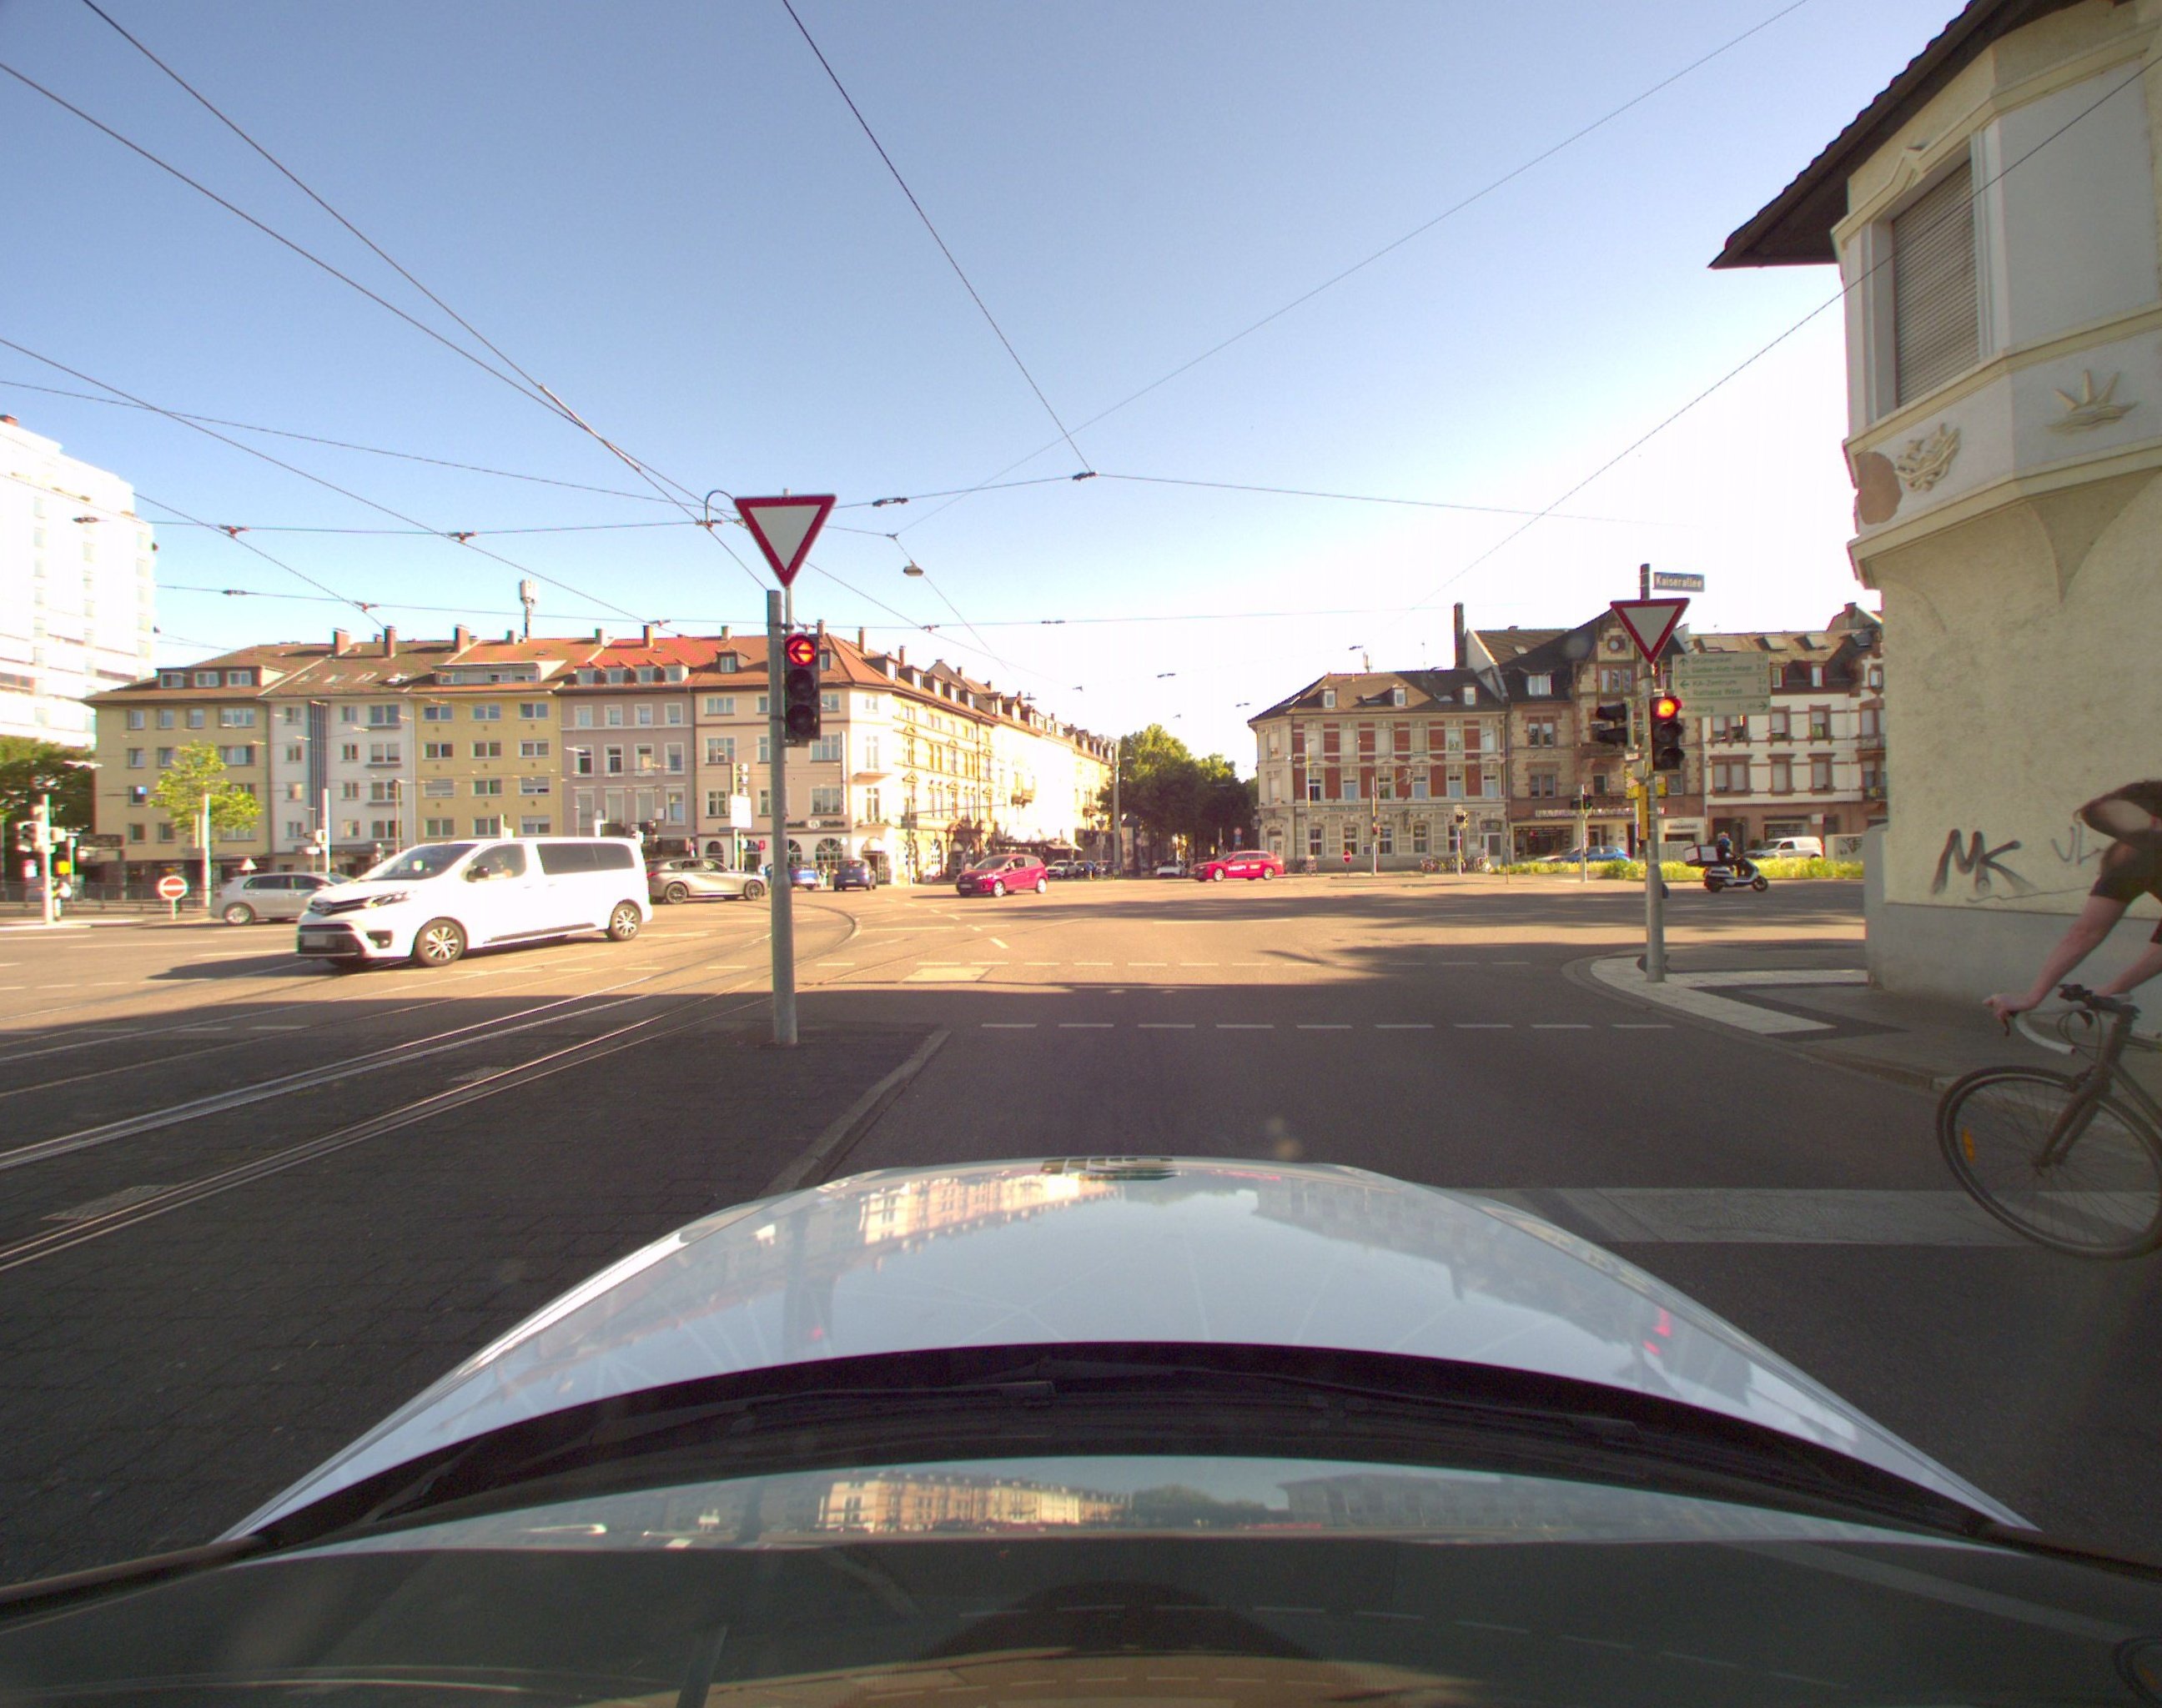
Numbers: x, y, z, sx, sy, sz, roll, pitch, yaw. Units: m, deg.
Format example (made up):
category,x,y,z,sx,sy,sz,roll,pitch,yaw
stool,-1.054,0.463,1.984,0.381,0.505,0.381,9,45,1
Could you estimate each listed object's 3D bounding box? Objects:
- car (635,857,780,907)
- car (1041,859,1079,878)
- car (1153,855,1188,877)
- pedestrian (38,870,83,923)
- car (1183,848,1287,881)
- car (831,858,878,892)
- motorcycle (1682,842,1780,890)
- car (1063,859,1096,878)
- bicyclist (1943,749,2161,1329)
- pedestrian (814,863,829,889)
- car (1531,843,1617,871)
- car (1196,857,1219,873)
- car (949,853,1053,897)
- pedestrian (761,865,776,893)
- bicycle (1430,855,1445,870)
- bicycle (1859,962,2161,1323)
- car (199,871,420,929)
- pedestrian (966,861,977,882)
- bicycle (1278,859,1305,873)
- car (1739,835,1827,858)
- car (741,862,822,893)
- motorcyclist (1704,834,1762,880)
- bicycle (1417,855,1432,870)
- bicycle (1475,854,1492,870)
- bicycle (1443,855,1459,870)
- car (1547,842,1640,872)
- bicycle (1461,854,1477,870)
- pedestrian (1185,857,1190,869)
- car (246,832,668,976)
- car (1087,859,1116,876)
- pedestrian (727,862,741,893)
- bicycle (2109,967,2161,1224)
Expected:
category,x,y,z,sx,sy,sz,roll,pitch,yaw
car,-13.723,0.982,30.139,1.850,1.602,4.483,-2,0,39
car,-1.679,1.176,67.485,1.788,1.585,4.179,-1,-1,19
car,6.895,0.891,62.492,1.877,1.454,4.027,-2,1,18
pedestrian,-31.659,1.293,25.275,0.770,1.609,0.605,0,-1,-44
car,7.691,0.478,40.652,4.874,1.469,1.791,-1,1,-20
car,-10.996,0.963,39.758,1.785,1.503,3.905,-2,0,-10
motorcycle,18.679,0.348,23.431,2.125,1.333,0.798,0,-1,4
car,-0.093,1.288,73.742,1.809,1.685,3.893,-1,-1,18
bicyclist,3.587,0.564,2.636,0.587,1.767,0.936,0,-1,2
pedestrian,-16.469,1.379,51.752,0.666,1.594,0.815,0,-1,1
car,29.141,0.190,48.221,3.970,1.622,1.806,0,-1,3
car,12.021,0.989,77.212,1.812,1.403,4.016,-1,0,15
car,-2.812,0.706,29.405,1.575,1.426,3.907,-1,0,35
pedestrian,-19.143,1.525,49.910,0.580,1.648,0.840,0,-1,1
bicycle,23.262,0.563,53.099,0.758,0.968,2.221,-1,-1,20
bicycle,3.591,0.958,2.632,0.480,0.991,1.783,0,-1,2
car,-21.934,1.262,23.354,4.223,1.389,1.725,-2,0,-16
pedestrian,-9.011,1.437,66.851,0.562,1.642,0.797,-1,-1,25
bicycle,14.710,0.824,56.926,1.789,0.963,0.606,-1,-1,16
car,45.144,-0.451,52.446,3.961,1.438,1.874,0,-1,5
car,-15.915,1.239,43.264,4.145,1.575,1.843,-1,0,31
motorcyclist,18.744,0.080,23.429,1.010,1.300,0.790,0,-1,5
bicycle,22.507,0.571,53.366,0.758,0.963,2.221,-1,-1,20
bicycle,26.100,0.527,52.817,0.785,1.016,2.221,-1,-1,20
bicycle,24.049,0.556,52.976,0.758,0.983,2.221,-1,-1,20
car,28.331,0.171,45.124,3.970,1.622,1.806,0,-1,3
bicycle,25.189,0.535,52.879,0.758,1.007,2.231,-1,-1,20
pedestrian,18.123,1.510,138.326,0.746,2.014,1.003,-1,-1,15
car,-9.563,0.644,13.243,1.978,1.854,5.238,-2,0,16
car,2.066,1.328,79.625,1.788,1.575,3.908,-1,-1,17
pedestrian,-20.333,1.383,47.725,0.526,1.823,0.675,0,-1,-6
bicycle,4.461,0.951,2.453,0.501,0.983,1.783,0,-1,2
